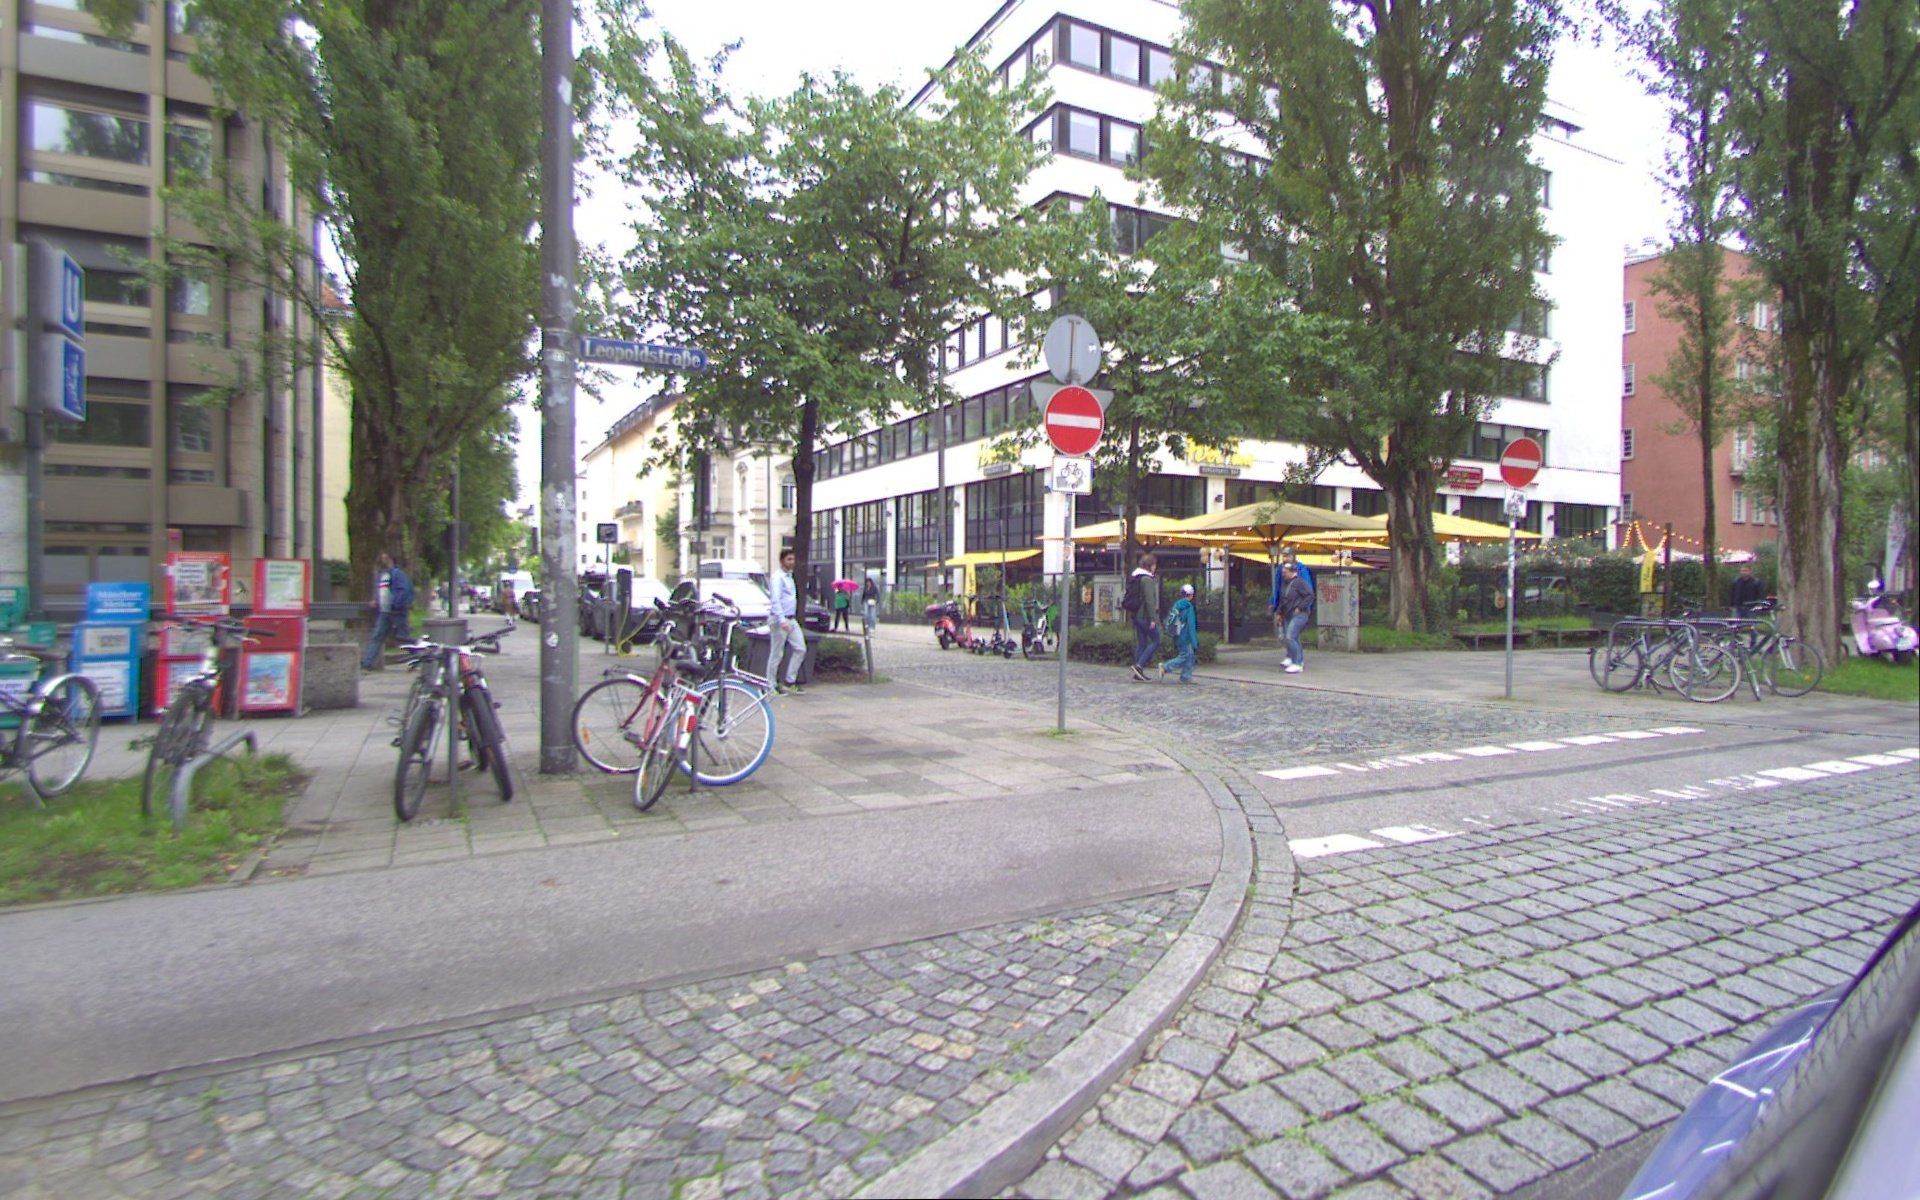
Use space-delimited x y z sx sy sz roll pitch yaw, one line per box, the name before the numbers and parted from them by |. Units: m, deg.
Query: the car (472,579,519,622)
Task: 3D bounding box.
car | -28.352 -0.015 61.636 2.048 2.463 5.617 -2 2 -30

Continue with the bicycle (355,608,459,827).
bicycle | -3.356 0.620 6.229 0.466 1.063 1.880 0 2 -26

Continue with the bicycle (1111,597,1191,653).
bicycle | 3.705 0.460 19.755 0.543 1.035 1.765 0 1 -29

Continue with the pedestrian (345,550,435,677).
pedestrian | -8.071 0.182 14.375 0.851 1.735 0.913 0 0 -9

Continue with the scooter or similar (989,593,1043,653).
scooter or similar | 1.157 0.448 20.680 0.367 1.158 1.410 0 1 38

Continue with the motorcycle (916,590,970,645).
motorcycle | -0.376 0.392 23.691 0.760 1.211 1.982 1 0 14

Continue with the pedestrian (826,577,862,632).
pedestrian | -3.696 0.137 32.243 0.917 1.727 0.795 0 0 19

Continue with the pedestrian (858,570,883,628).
pedestrian | -2.806 -0.035 31.722 0.568 1.770 0.646 0 0 20

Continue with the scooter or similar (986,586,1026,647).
scooter or similar | 1.030 0.348 22.477 0.325 1.288 1.238 -1 2 31

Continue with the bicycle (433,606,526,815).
bicycle | -3.070 0.609 6.464 0.466 1.063 1.880 0 2 -26

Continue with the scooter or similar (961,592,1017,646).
scooter or similar | 0.657 0.423 22.974 1.241 1.195 0.386 0 0 31

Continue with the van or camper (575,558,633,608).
van or camper | -23.678 -1.107 67.086 2.416 3.085 7.326 0 1 -29

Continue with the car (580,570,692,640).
car | -8.882 0.084 27.439 1.979 1.721 4.678 -1 1 -29

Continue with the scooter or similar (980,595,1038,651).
scooter or similar | 1.050 0.476 21.547 1.225 1.158 0.328 0 0 -27

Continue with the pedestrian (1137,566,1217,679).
pedestrian | 2.866 0.280 13.412 0.754 1.437 0.820 0 0 -12

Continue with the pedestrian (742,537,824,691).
pedestrian | -2.093 0.152 11.938 0.668 1.746 0.701 0 0 44

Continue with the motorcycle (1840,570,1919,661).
motorcycle | 14.678 0.203 15.813 0.621 1.209 1.982 0 6 18

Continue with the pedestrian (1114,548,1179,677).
pedestrian | 2.539 0.160 13.825 0.676 1.722 0.665 0 0 -12

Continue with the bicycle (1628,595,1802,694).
bicycle | 9.236 0.504 12.458 0.481 1.107 1.706 0 1 -22

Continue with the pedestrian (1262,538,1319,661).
pedestrian | 5.365 -0.019 16.411 0.700 1.932 0.636 0 0 39

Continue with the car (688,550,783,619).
car | -9.067 -0.617 40.418 2.025 2.522 5.855 1 0 -30

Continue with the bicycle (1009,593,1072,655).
bicycle | 1.614 0.445 20.031 0.549 1.157 1.743 0 1 31

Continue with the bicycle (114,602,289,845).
bicycle | -4.303 0.598 5.854 0.503 1.119 1.934 0 1 -28

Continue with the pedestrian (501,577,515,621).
pedestrian | -17.433 -0.044 39.000 0.480 1.649 0.569 0 0 -25

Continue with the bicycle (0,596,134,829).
bicycle | -5.038 0.530 5.368 0.502 1.051 1.837 0 1 -22

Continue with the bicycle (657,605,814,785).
bicycle | -1.645 0.593 7.184 0.466 1.063 1.878 0 1 -33

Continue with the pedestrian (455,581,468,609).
pedestrian | -28.272 -0.296 57.397 0.633 1.557 0.709 0 0 -31

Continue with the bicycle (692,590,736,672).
bicycle | -3.765 0.431 15.406 0.466 1.151 1.880 0 1 -19

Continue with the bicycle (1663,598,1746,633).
bicycle | 20.948 0.421 28.517 0.608 0.924 1.804 0 1 -30

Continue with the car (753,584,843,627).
car | -5.513 0.130 34.031 1.959 1.346 4.124 0 1 -25

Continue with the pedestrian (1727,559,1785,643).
pedestrian | 16.585 0.004 21.094 0.633 1.714 0.737 0 0 -23

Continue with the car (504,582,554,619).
car | -17.975 -0.019 42.154 1.573 1.448 3.567 -1 1 -29

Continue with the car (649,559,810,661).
car | -4.539 0.123 19.481 1.888 1.721 4.206 -1 1 -29

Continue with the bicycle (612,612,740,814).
bicycle | -1.861 0.626 6.462 0.466 1.064 1.879 0 0 -26

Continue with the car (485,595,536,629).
car | -22.419 0.575 50.400 1.832 1.517 3.877 -2 2 -31

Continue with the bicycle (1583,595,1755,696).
bicycle | 8.460 0.506 12.163 0.481 1.107 1.706 0 1 -22

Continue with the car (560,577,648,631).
car | -11.527 0.079 32.605 1.960 1.602 4.347 -1 1 -29

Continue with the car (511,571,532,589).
car | -61.214 -2.735 141.223 2.047 2.463 5.617 0 1 -30

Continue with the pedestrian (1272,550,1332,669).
pedestrian | 5.210 0.131 15.424 0.700 1.749 0.636 0 0 39

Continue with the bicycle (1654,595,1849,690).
bicycle | 10.060 0.499 12.958 0.481 1.107 1.988 0 1 -22

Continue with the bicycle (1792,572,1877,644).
bicycle | 15.258 0.126 17.661 1.583 1.203 0.584 0 0 -28

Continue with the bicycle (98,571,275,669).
bicycle | -10.666 0.245 14.038 1.831 1.292 0.723 0 1 -27

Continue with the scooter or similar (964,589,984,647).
scooter or similar | 0.325 0.396 23.183 0.322 1.289 1.355 0 -1 6

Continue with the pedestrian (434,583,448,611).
pedestrian | -29.256 -0.191 56.995 0.528 1.549 0.537 0 0 39
